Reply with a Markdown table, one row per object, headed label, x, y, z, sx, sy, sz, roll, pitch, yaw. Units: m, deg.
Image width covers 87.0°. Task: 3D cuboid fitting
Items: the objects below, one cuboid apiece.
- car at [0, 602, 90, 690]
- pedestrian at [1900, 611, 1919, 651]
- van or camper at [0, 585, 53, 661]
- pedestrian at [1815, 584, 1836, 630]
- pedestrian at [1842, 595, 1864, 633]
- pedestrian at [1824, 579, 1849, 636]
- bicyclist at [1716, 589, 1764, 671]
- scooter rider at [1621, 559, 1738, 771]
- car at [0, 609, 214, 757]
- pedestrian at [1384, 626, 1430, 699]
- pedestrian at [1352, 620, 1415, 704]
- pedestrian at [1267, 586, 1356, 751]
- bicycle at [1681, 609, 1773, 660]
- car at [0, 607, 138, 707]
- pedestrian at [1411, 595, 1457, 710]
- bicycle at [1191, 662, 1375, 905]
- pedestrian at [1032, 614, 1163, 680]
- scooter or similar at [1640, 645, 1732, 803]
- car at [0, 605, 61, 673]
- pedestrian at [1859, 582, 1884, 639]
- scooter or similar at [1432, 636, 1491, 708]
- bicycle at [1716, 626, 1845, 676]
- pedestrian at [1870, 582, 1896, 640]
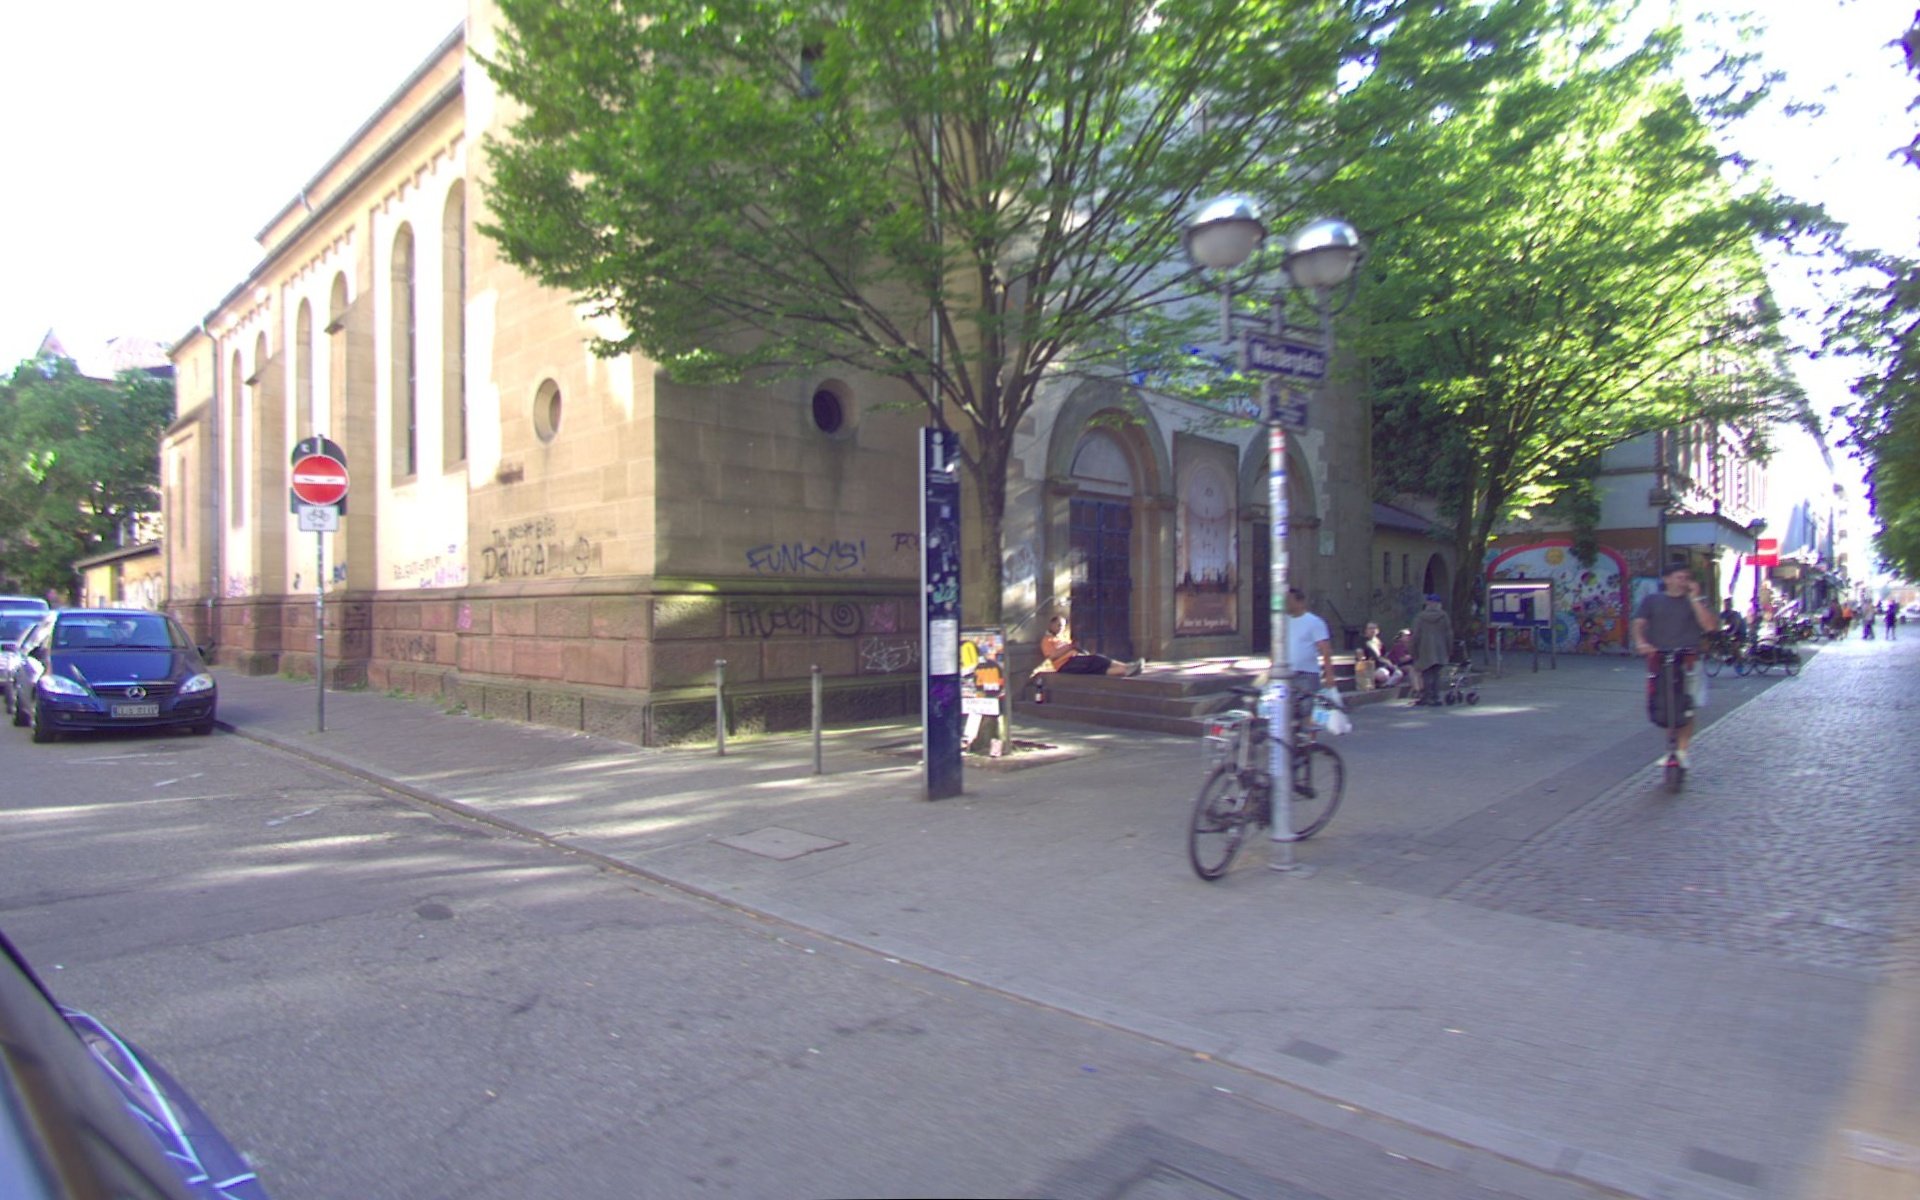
| label | x | y | z | sx | sy | sz | roll | pitch | yaw |
| --- | --- | --- | --- | --- | --- | --- | --- | --- | --- |
| car | -18.695 | 0.852 | 20.165 | 4.001 | 1.579 | 1.701 | 0 | 1 | 44 |
| pedestrian | 38.035 | 1.237 | 40.500 | 0.558 | 1.579 | 0.754 | 0 | 1 | 40 |
| van or camper | -26.485 | 0.623 | 27.812 | 4.564 | 1.966 | 1.957 | -1 | 0 | 44 |
| pedestrian | 43.728 | 0.350 | 51.134 | 0.753 | 2.335 | 0.731 | -1 | 1 | -44 |
| pedestrian | 40.975 | 0.634 | 46.432 | 0.730 | 1.750 | 0.754 | -1 | -1 | 42 |
| pedestrian | 36.430 | 0.297 | 42.077 | 0.729 | 2.335 | 0.755 | 0 | 1 | 39 |
| bicyclist | 17.132 | 0.654 | 22.238 | 0.672 | 1.775 | 0.505 | -1 | 1 | -7 |
| scooter rider | 5.986 | 0.502 | 8.415 | 0.720 | 1.660 | 0.680 | 0 | 1 | 42 |
| car | -11.147 | 0.924 | 13.084 | 3.835 | 1.563 | 1.774 | 0 | 1 | 44 |
| pedestrian | 7.157 | 0.986 | 16.203 | 0.490 | 1.116 | 0.608 | 0 | 1 | 42 |
| pedestrian | 6.562 | 0.943 | 15.676 | 0.741 | 1.241 | 0.607 | 0 | 1 | 42 |
| pedestrian | 3.558 | 0.664 | 10.242 | 0.714 | 1.605 | 0.474 | 0 | 1 | 40 |
| bicycle | 20.426 | 0.899 | 26.979 | 1.928 | 1.276 | 0.517 | 0 | 1 | 43 |
| car | -14.637 | 0.833 | 16.427 | 4.148 | 1.374 | 1.555 | 0 | 1 | 45 |
| pedestrian | 6.970 | 0.755 | 14.868 | 0.548 | 1.644 | 0.555 | -1 | 1 | 31 |
| bicycle | 1.877 | 0.952 | 5.735 | 0.346 | 1.073 | 1.672 | 0 | 1 | 41 |
| pedestrian | 1.782 | 0.590 | 13.185 | 1.407 | 0.766 | 0.946 | 0 | 1 | 43 |
| scooter or similar | 6.106 | 0.999 | 8.495 | 0.514 | 1.169 | 1.043 | 0 | 1 | 42 |
| car | -22.607 | 0.897 | 23.967 | 3.737 | 1.492 | 1.673 | -1 | 0 | 44 |
| pedestrian | 38.217 | 0.436 | 42.434 | 0.730 | 2.335 | 0.754 | 0 | 1 | 41 |
| scooter or similar | 7.561 | 1.072 | 15.254 | 0.721 | 1.013 | 0.506 | -1 | 1 | -36 |
| bicycle | 18.154 | 1.120 | 22.393 | 2.721 | 0.998 | 0.489 | -1 | 1 | -8 |
| pedestrian | 37.411 | 0.442 | 41.047 | 0.729 | 2.335 | 0.754 | 0 | 1 | 40 |
